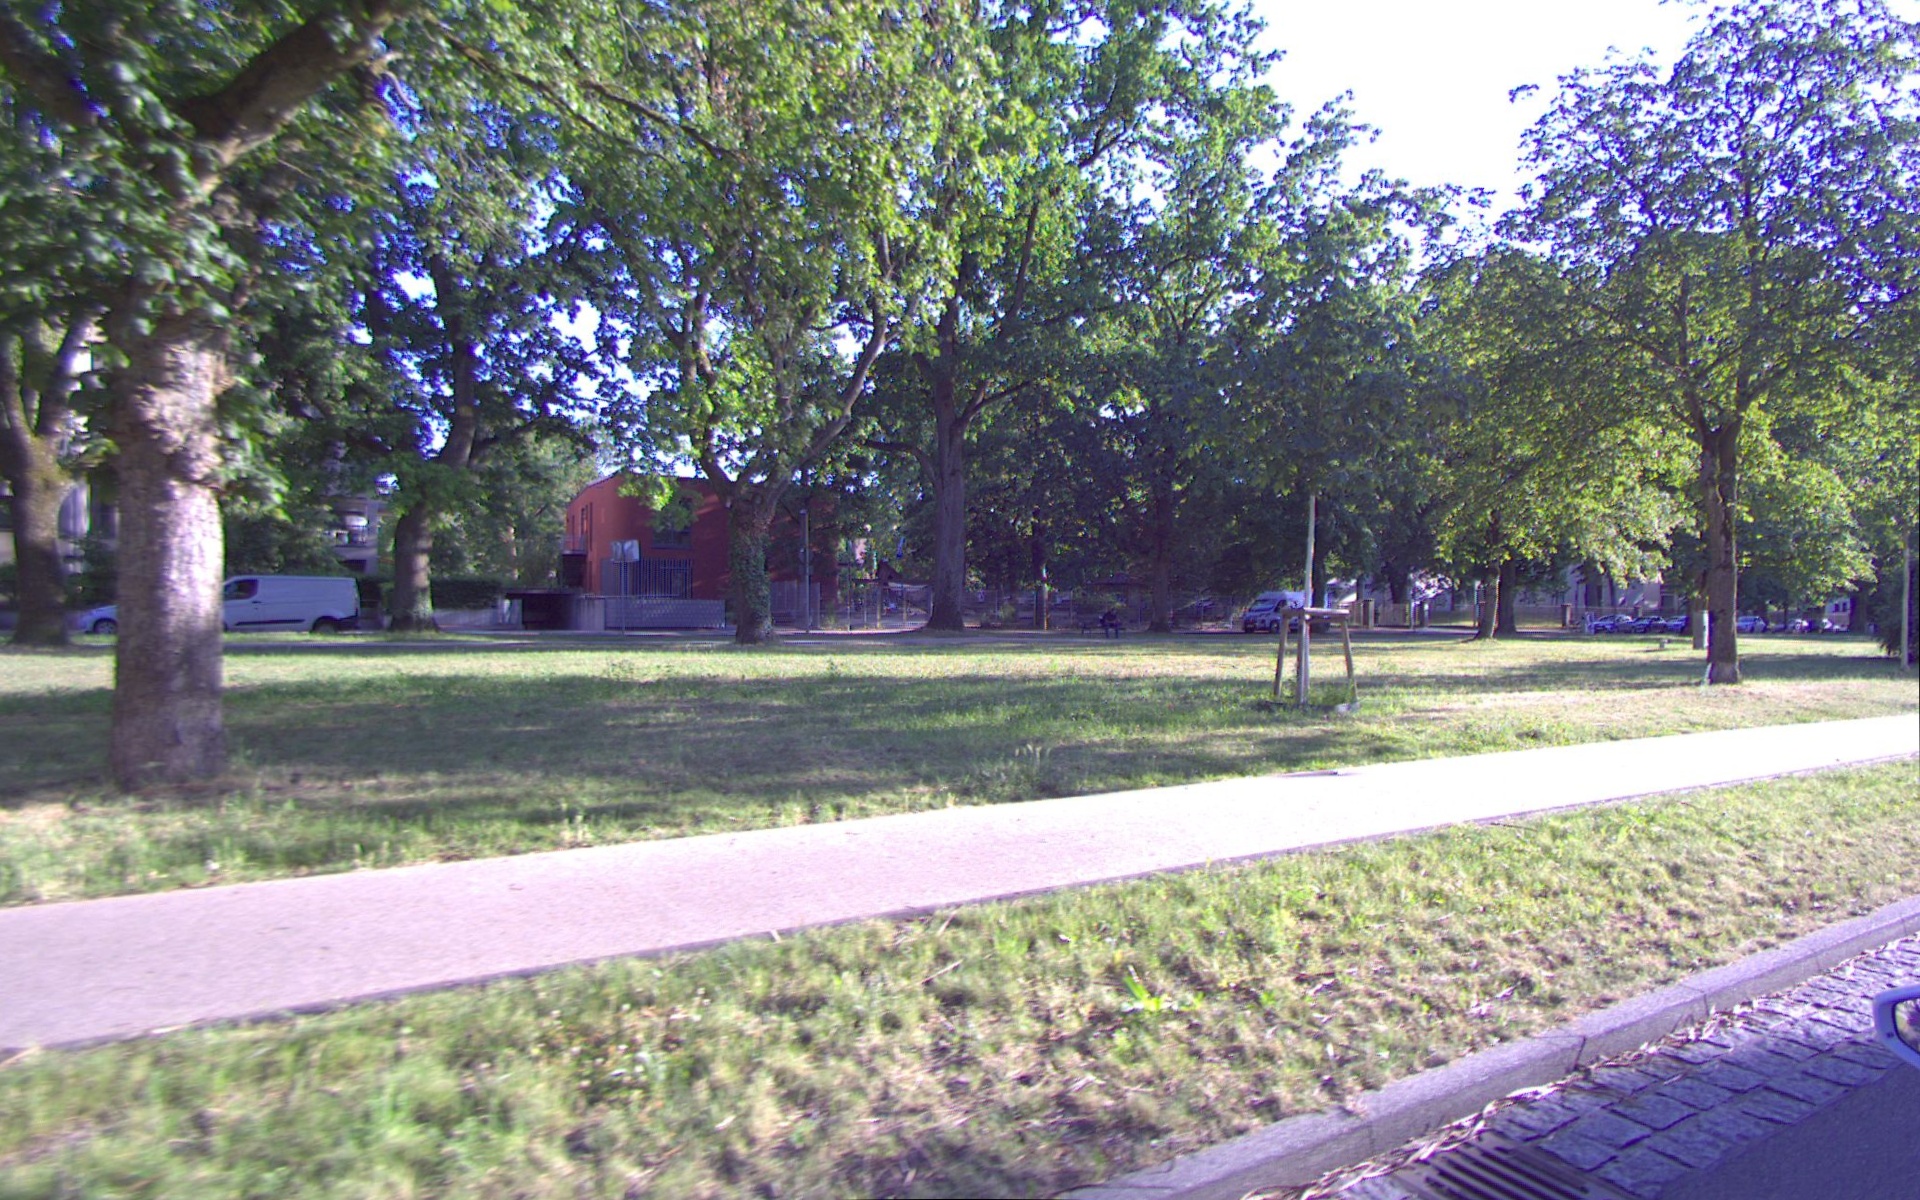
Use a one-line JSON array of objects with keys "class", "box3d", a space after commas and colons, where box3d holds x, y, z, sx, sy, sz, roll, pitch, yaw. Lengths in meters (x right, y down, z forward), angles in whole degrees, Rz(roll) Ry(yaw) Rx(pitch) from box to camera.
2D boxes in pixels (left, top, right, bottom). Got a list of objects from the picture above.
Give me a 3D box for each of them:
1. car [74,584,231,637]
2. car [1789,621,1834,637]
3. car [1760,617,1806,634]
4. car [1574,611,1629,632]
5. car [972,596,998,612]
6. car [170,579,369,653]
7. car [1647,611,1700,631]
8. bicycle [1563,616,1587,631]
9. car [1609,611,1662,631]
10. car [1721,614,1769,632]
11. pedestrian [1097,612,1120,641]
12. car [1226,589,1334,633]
[{"class": "car", "box3d": [-26.182, 0.327, 32.734, 3.694, 1.639, 1.984, 1, 0, -30]}, {"class": "car", "box3d": [81.785, 2.769, 96.475, 4.066, 1.528, 1.985, 1, -1, -29]}, {"class": "car", "box3d": [76.092, 2.336, 92.894, 4.066, 1.528, 1.985, 1, -1, -29]}, {"class": "car", "box3d": [49.598, 1.681, 77.601, 3.952, 1.528, 1.985, 1, -1, -29]}, {"class": "car", "box3d": [3.336, 0.531, 134.147, 1.603, 2.085, 4.241, 0, -1, 30]}, {"class": "car", "box3d": [-21.716, 0.480, 31.660, 4.930, 2.142, 2.646, 1, 0, -41]}, {"class": "car", "box3d": [58.889, 1.733, 82.894, 4.066, 1.528, 1.985, 1, -1, -29]}, {"class": "bicycle", "box3d": [48.141, 1.839, 78.623, 2.308, 1.191, 0.653, 1, -1, -33]}, {"class": "car", "box3d": [53.874, 1.644, 80.117, 3.952, 1.528, 1.985, 1, -1, -29]}, {"class": "car", "box3d": [69.648, 2.039, 89.136, 4.066, 1.528, 1.985, 1, -1, -29]}, {"class": "pedestrian", "box3d": [5.164, 0.908, 34.857, 0.601, 1.000, 0.547, 1, -1, -19]}, {"class": "car", "box3d": [18.999, 0.682, 59.501, 6.247, 2.496, 2.706, 1, -1, -32]}]
